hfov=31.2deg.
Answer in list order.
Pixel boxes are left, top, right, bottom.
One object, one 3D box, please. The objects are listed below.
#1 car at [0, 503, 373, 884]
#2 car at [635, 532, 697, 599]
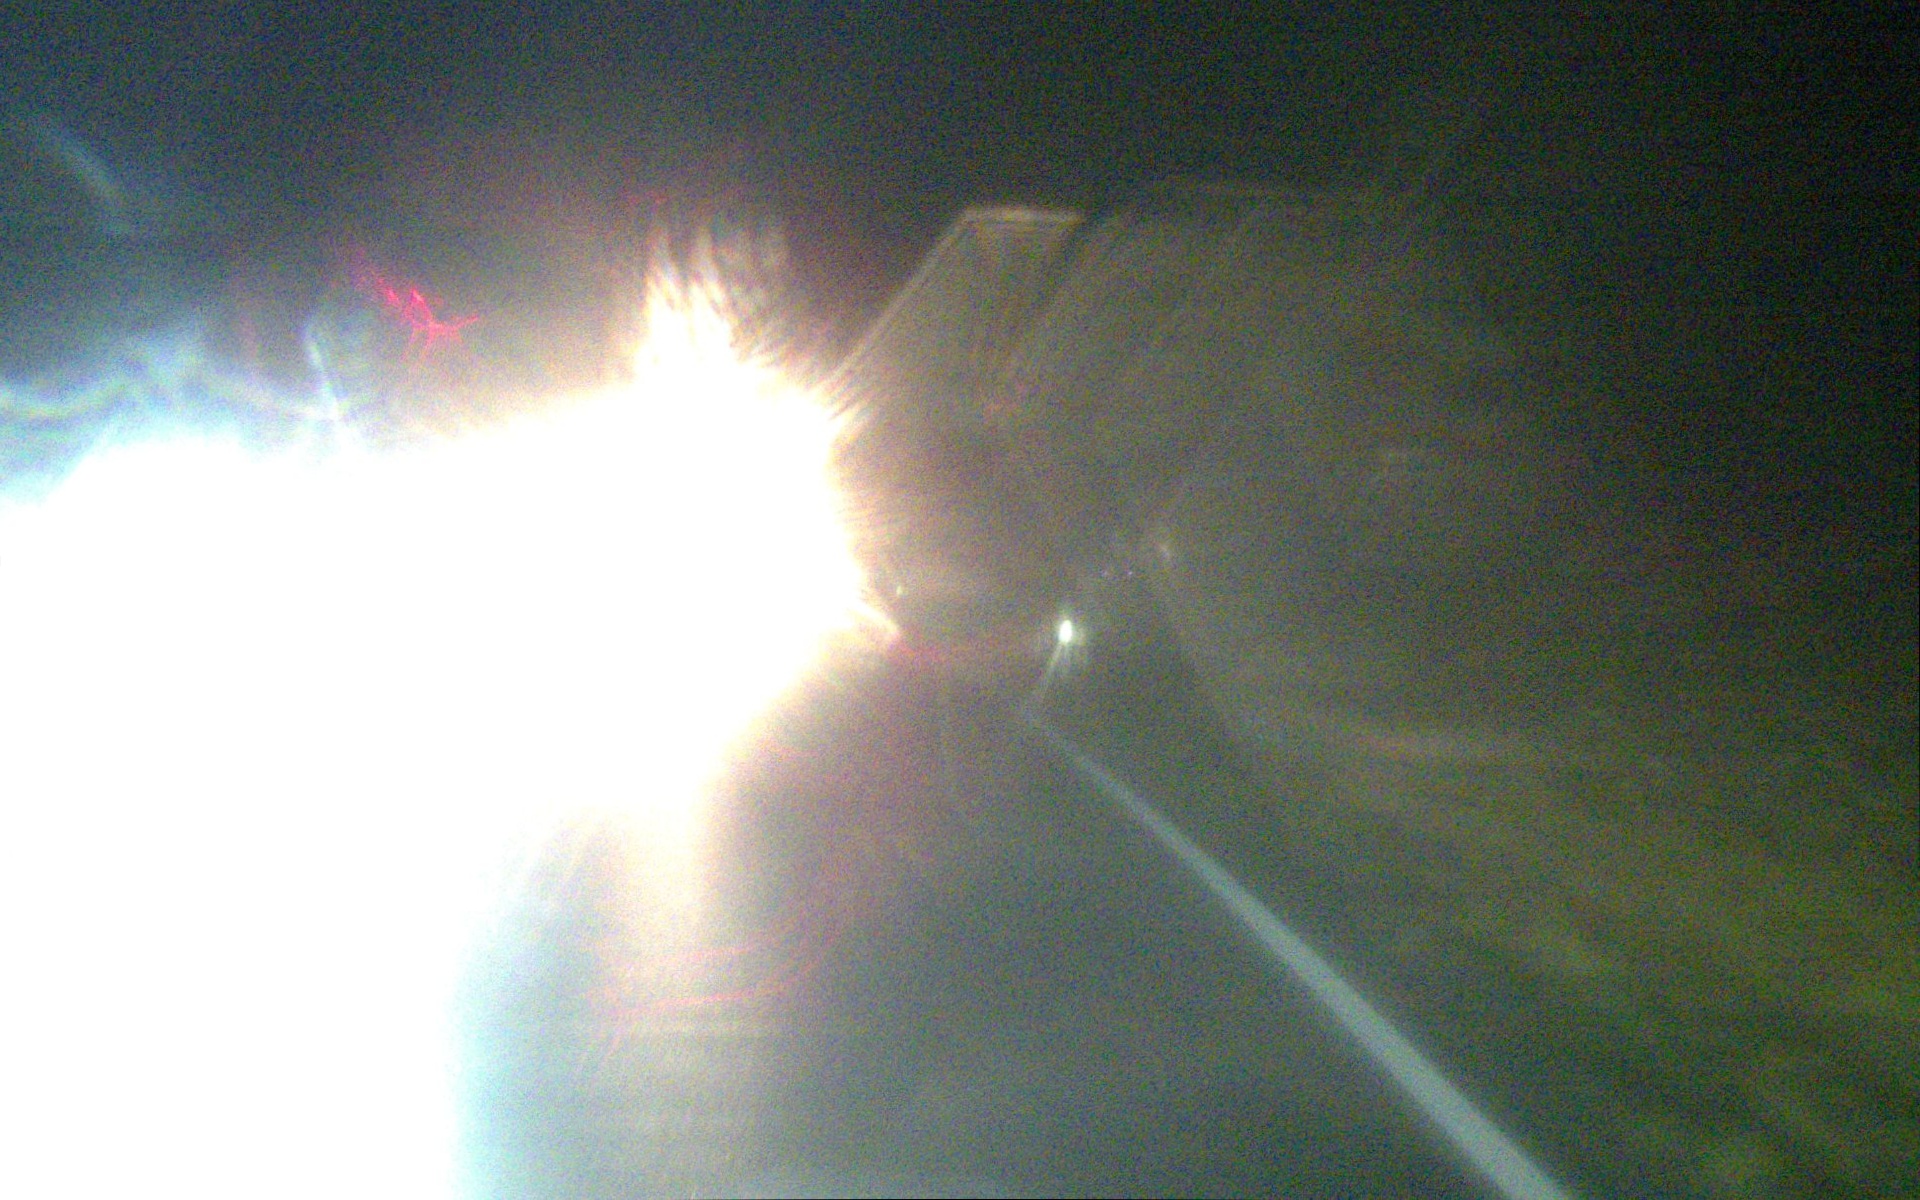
[{"bbox_3d":[-4.239,0.371,17.394,1.926,1.698,4.000,1,1,-1],"label":"car"},{"bbox_3d":[-10.269,-1.222,120.355,1.993,2.265,5.468,1,1,-3],"label":"car"}]
